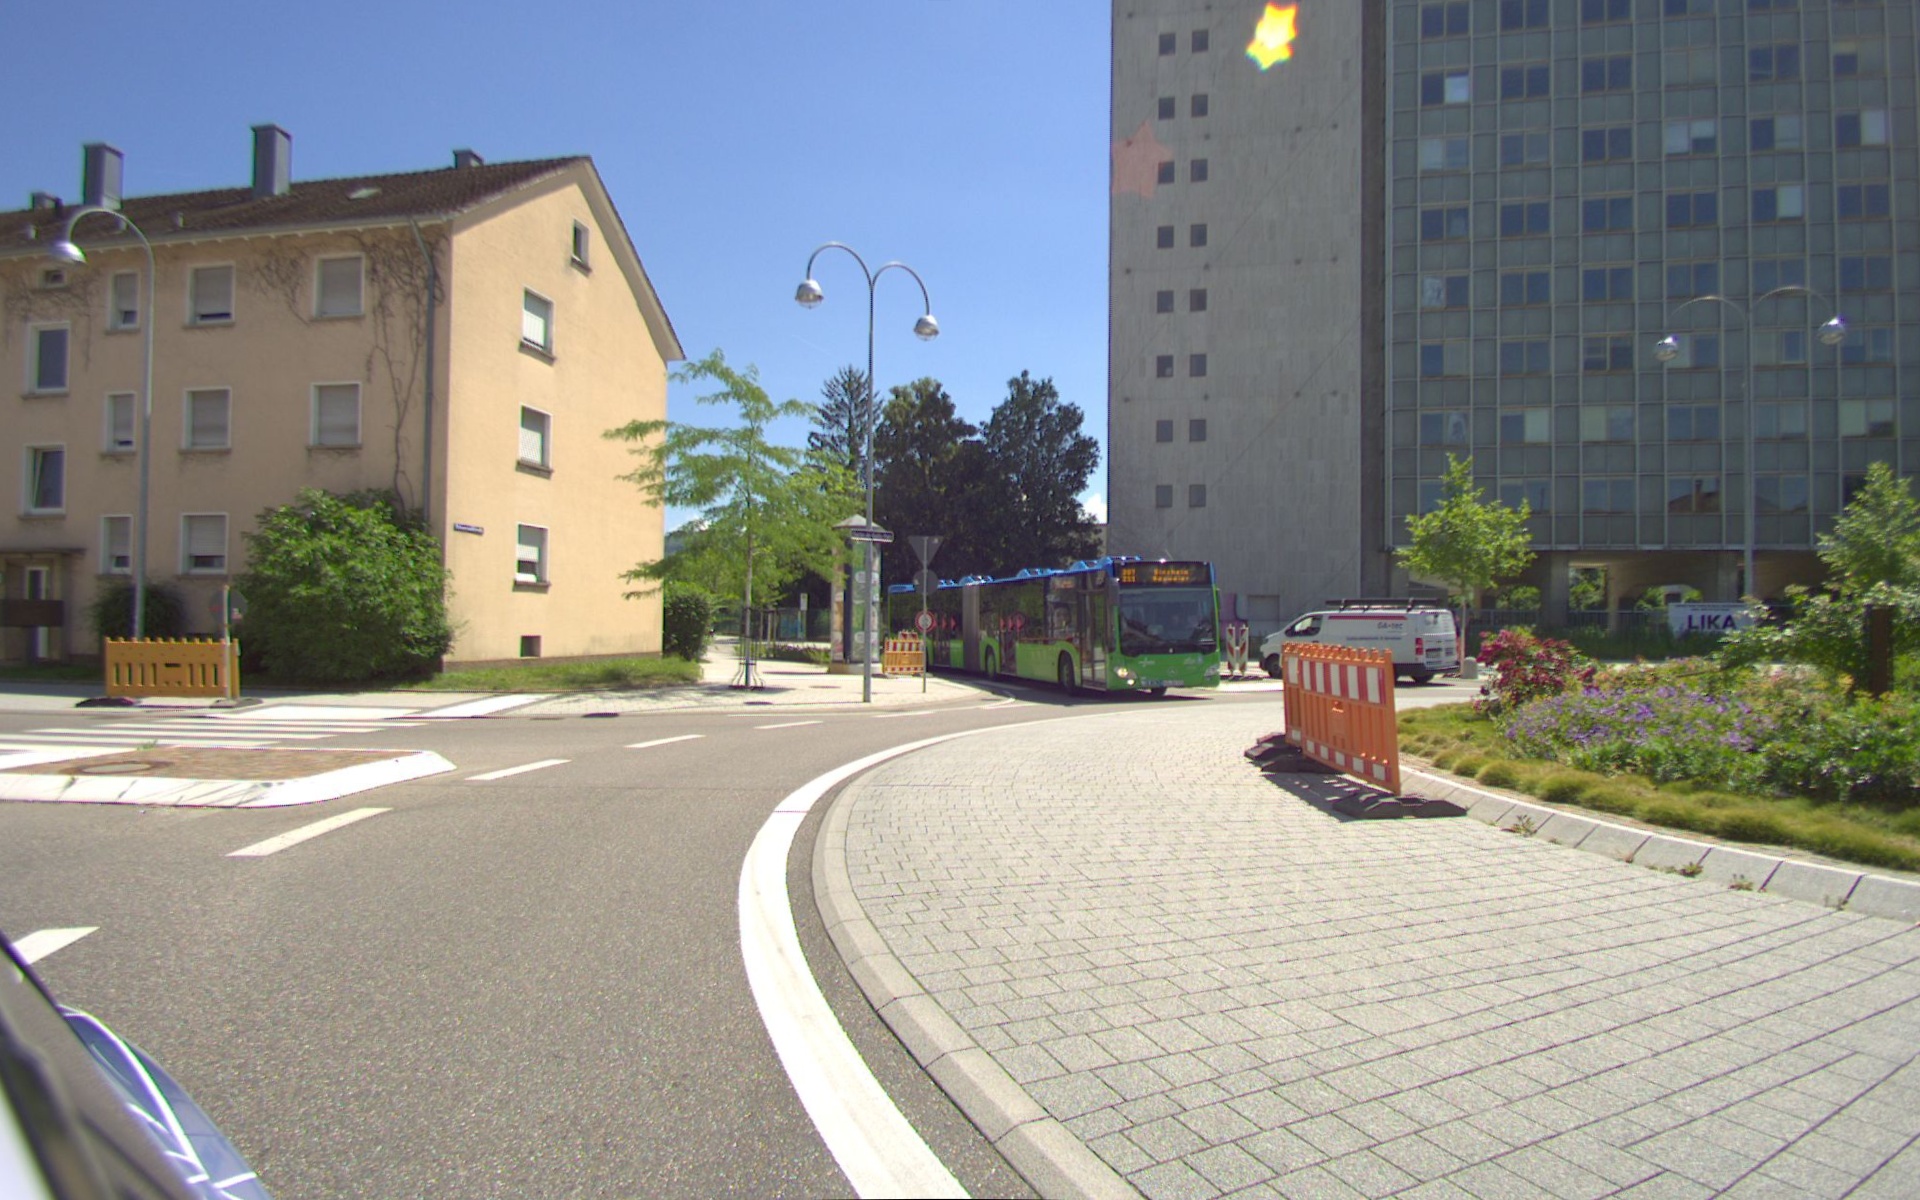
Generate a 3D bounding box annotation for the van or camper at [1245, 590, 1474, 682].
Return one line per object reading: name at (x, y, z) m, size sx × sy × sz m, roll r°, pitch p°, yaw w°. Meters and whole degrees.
van or camper at (10.398, 0.961, 26.828) m, size 1.967 × 2.188 × 5.426 m, roll 0°, pitch -2°, yaw -35°

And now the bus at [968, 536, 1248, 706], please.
bus at (3.085, 0.559, 25.295) m, size 2.914 × 3.350 × 10.113 m, roll -1°, pitch -2°, yaw -16°

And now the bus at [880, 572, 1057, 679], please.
bus at (-0.033, 0.814, 34.532) m, size 2.781 × 3.134 × 8.952 m, roll -1°, pitch -1°, yaw -22°
